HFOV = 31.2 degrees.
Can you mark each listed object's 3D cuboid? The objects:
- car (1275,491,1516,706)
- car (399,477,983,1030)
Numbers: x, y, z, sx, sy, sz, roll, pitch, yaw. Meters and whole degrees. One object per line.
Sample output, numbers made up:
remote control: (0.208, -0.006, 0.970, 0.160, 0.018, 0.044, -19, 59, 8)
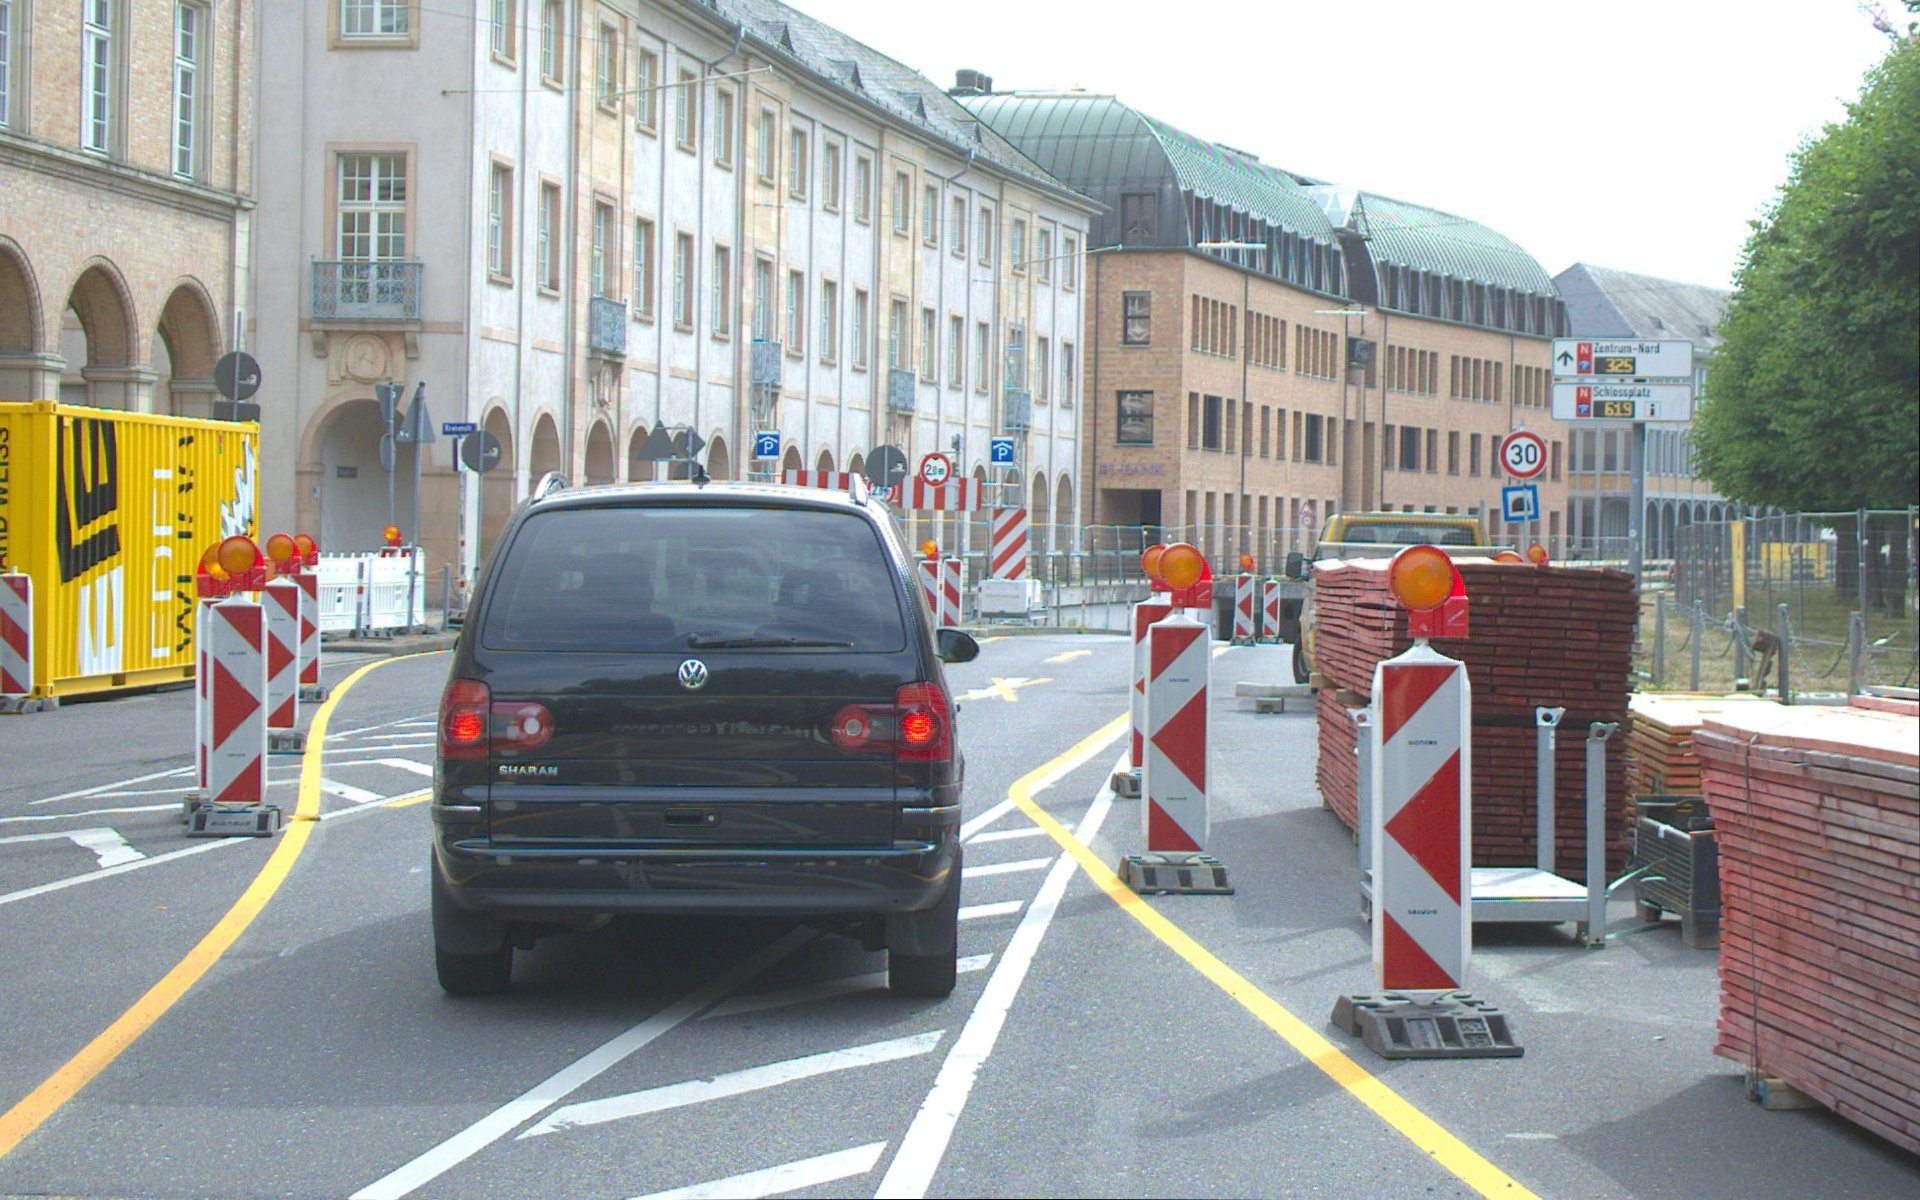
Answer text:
car: (4.502, -0.082, 36.153, 1.993, 2.006, 4.346, 1, 3, 1)
car: (-0.902, 0.434, 12.740, 1.793, 1.702, 4.131, 1, 1, -2)
